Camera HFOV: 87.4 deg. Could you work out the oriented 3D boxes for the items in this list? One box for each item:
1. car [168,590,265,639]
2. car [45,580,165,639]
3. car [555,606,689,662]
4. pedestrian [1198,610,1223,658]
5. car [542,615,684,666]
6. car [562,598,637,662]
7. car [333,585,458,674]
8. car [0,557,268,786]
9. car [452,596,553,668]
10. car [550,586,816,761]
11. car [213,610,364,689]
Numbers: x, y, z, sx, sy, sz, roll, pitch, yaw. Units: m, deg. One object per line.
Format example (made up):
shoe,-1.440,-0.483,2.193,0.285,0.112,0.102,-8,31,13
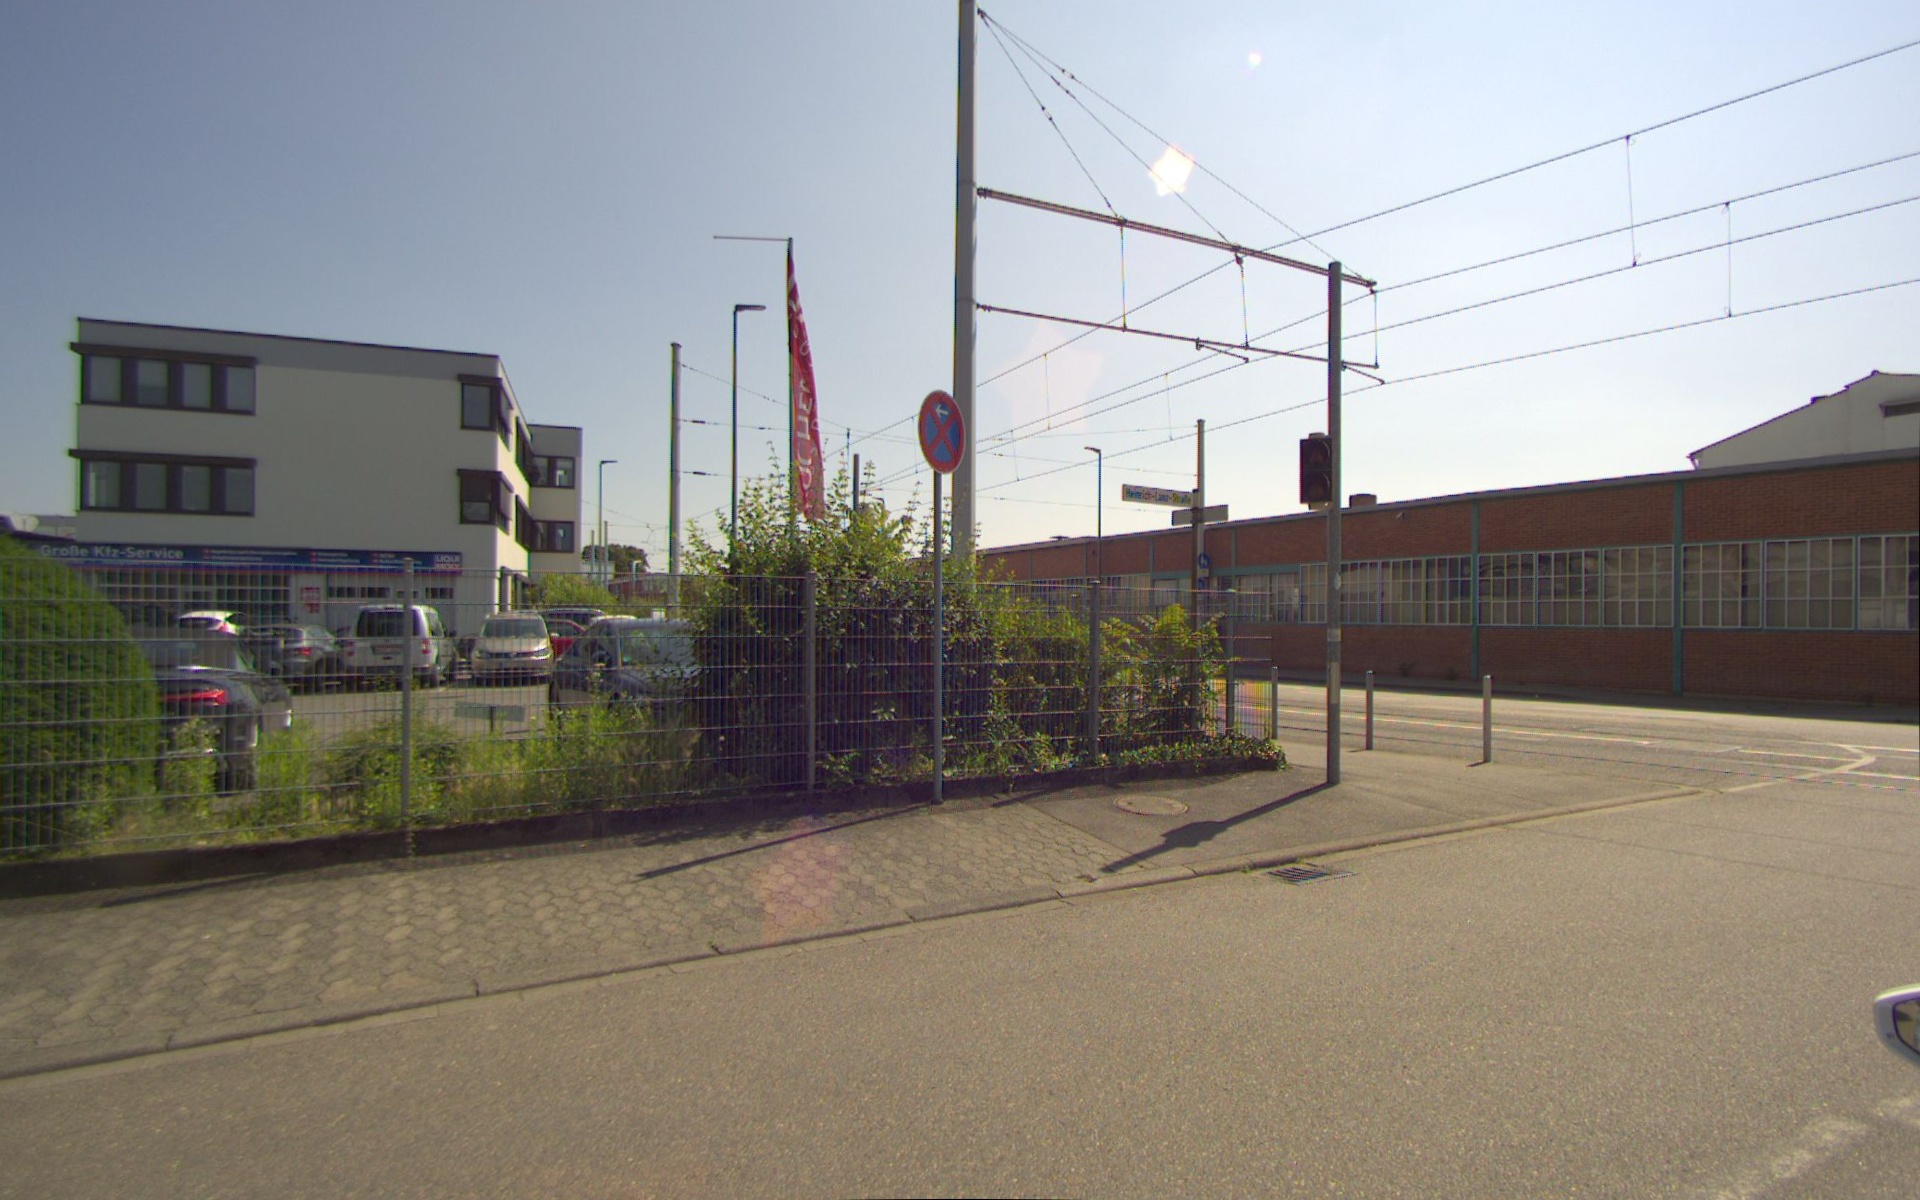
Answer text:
car,-23.495,0.466,31.844,1.398,1.445,3.122,1,-1,-15
car,-26.515,0.320,31.315,1.975,1.706,3.971,1,-1,-28
car,-11.046,1.103,32.807,3.946,1.728,1.988,1,-1,-25
pedestrian,9.396,1.277,37.677,0.676,1.788,0.447,2,1,-22
car,-10.160,1.180,29.390,3.783,1.388,1.738,2,-1,-24
car,-9.580,0.777,26.580,1.715,1.562,3.817,1,-1,-21
car,-12.882,0.663,23.160,1.899,1.847,4.021,1,-1,-21
car,-7.230,0.514,8.703,1.837,1.562,3.802,1,-1,-32
car,-10.966,0.732,24.321,1.828,1.589,3.918,1,-1,-19
car,-3.163,0.672,10.920,1.785,1.532,3.874,1,-1,-31
car,-14.872,1.037,22.495,1.899,1.578,4.021,1,-1,-21
